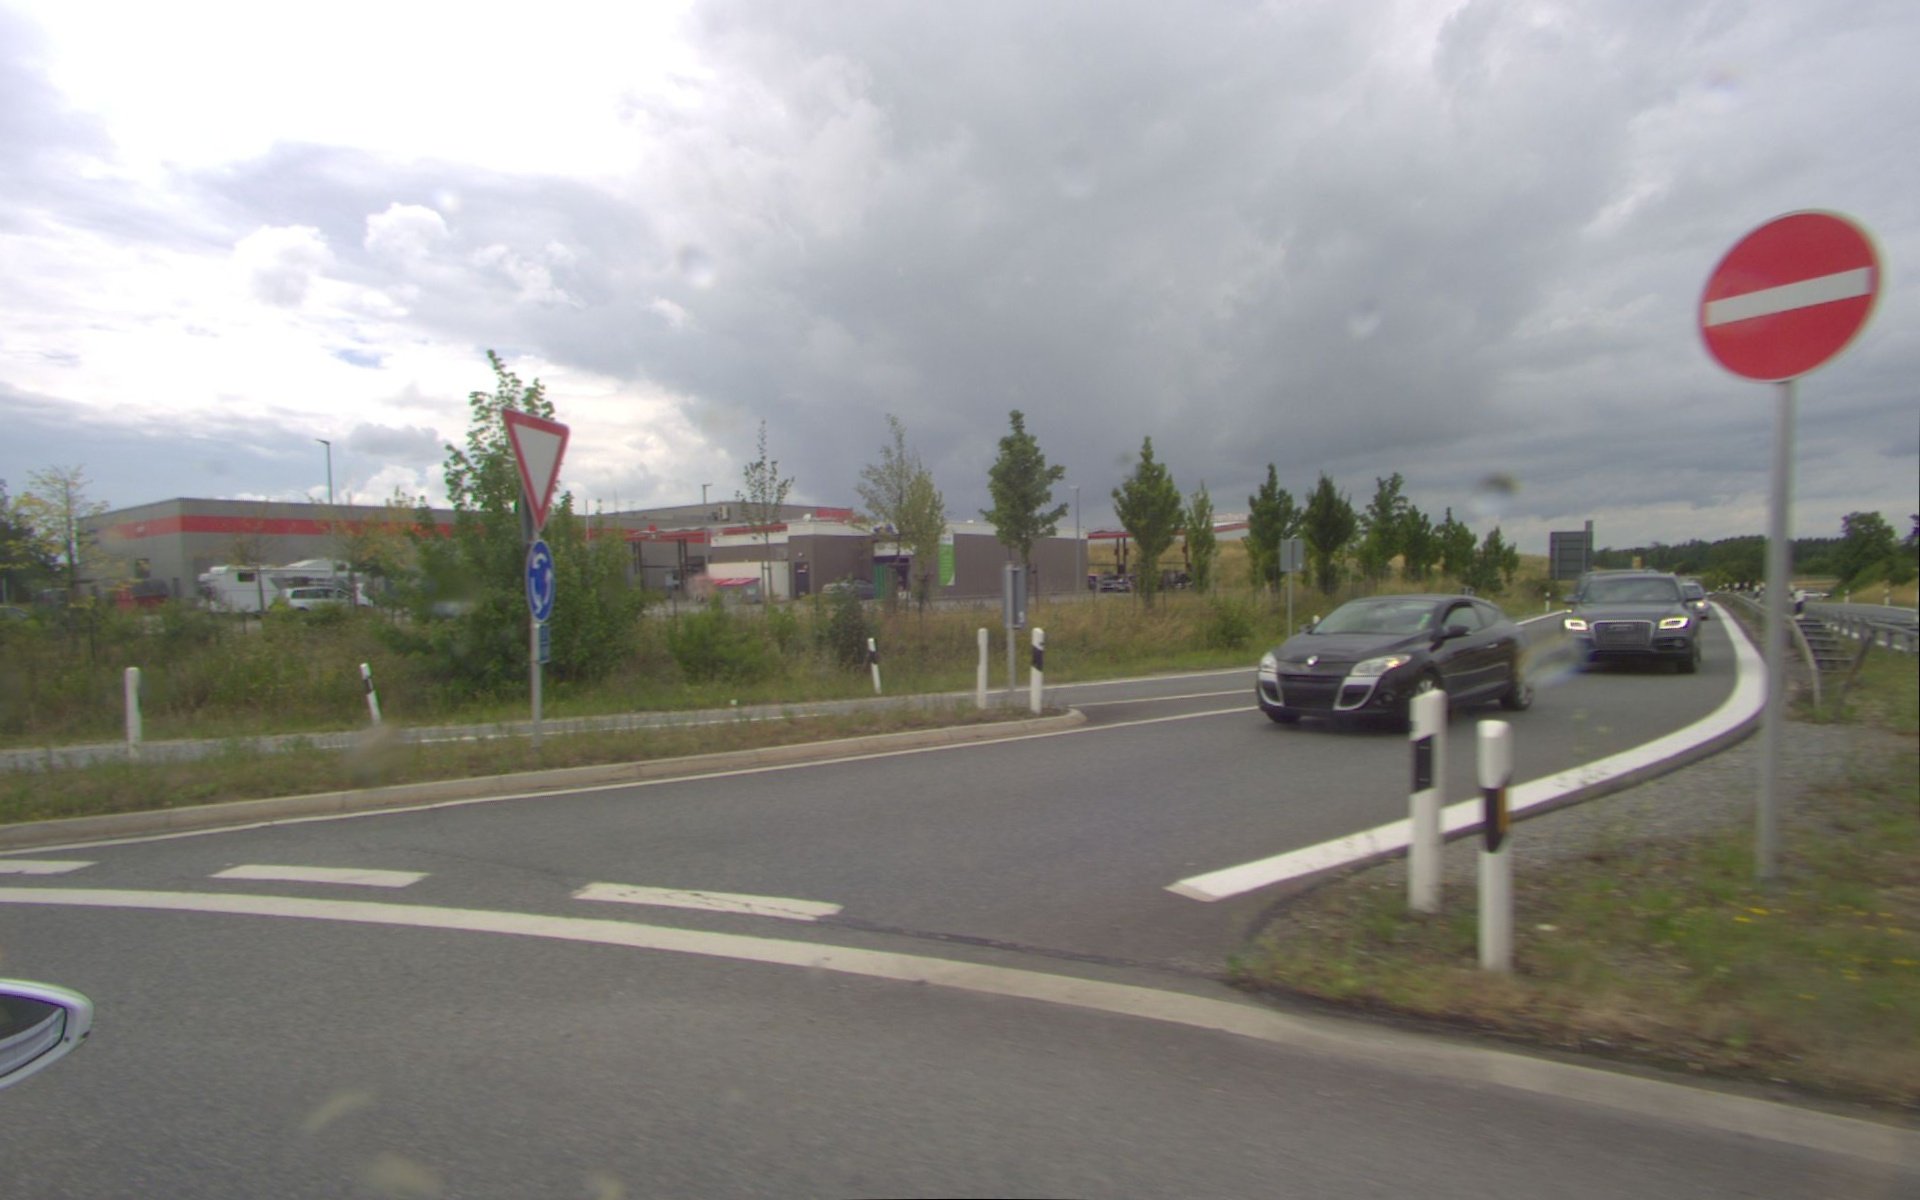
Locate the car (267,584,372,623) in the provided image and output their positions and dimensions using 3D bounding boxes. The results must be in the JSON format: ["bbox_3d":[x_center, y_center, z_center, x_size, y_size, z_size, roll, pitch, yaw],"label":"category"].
[{"bbox_3d":[-31.772,0.154,49.776,1.759,1.744,4.028,0,2,40],"label":"car"}]

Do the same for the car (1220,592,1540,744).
[{"bbox_3d":[4.924,0.646,11.457,4.101,1.388,1.827,-1,0,-42],"label":"car"}]

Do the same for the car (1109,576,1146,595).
[{"bbox_3d":[14.220,-1.205,84.926,1.774,1.559,3.642,-2,0,33],"label":"car"}]

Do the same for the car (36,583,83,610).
[{"bbox_3d":[-65.998,-0.234,73.402,3.918,1.837,1.692,0,4,36],"label":"car"}]

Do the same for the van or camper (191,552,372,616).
[{"bbox_3d":[-36.590,-0.945,54.343,2.461,3.223,7.680,1,3,38],"label":"van or camper"}]

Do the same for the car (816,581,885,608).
[{"bbox_3d":[-6.069,-0.300,55.889,1.648,1.450,3.975,-1,0,35],"label":"car"}]

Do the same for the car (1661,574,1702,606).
[{"bbox_3d":[39.456,-0.571,54.707,1.741,1.686,3.971,0,1,37],"label":"car"}]

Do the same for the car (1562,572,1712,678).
[{"bbox_3d":[11.867,0.374,17.436,1.861,1.604,4.245,-1,0,38],"label":"car"}]
